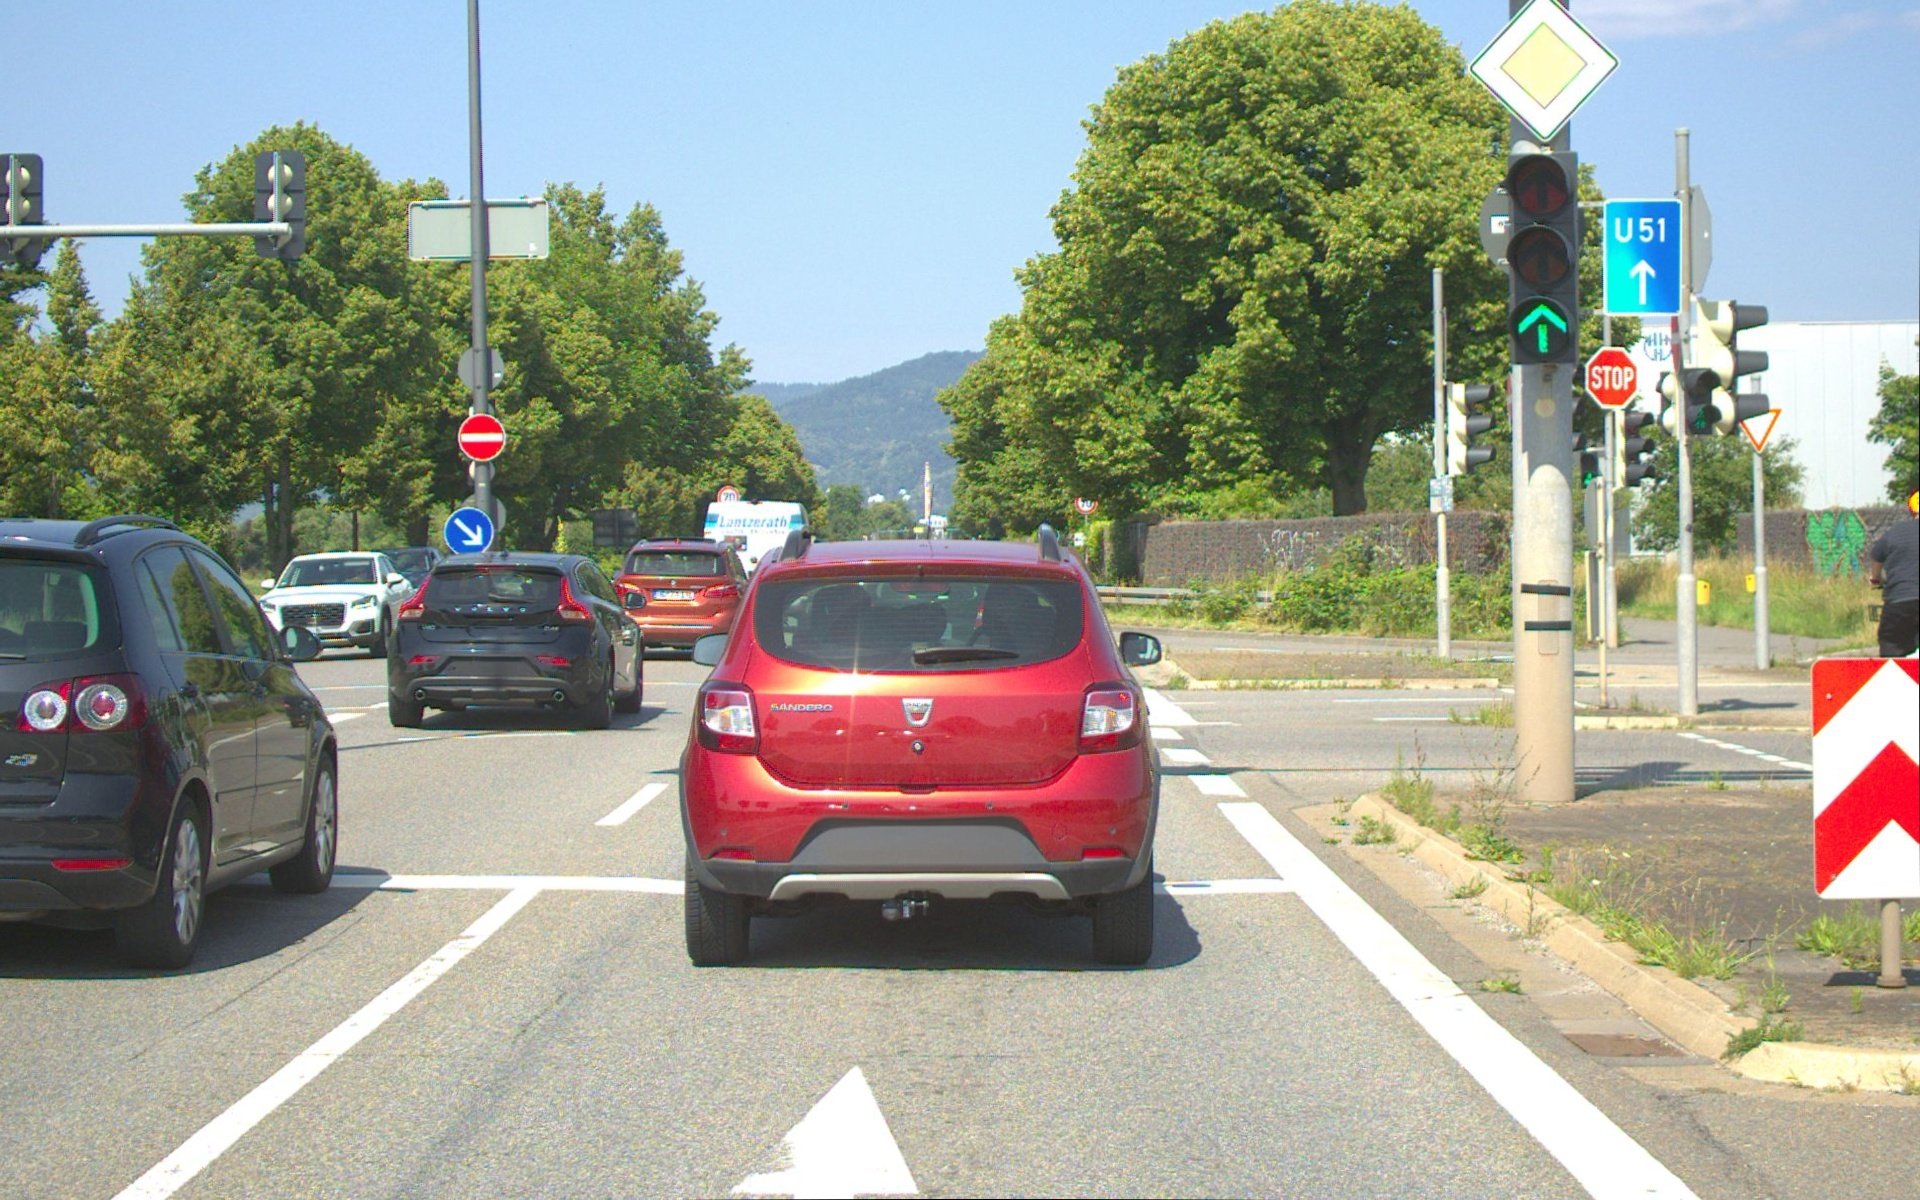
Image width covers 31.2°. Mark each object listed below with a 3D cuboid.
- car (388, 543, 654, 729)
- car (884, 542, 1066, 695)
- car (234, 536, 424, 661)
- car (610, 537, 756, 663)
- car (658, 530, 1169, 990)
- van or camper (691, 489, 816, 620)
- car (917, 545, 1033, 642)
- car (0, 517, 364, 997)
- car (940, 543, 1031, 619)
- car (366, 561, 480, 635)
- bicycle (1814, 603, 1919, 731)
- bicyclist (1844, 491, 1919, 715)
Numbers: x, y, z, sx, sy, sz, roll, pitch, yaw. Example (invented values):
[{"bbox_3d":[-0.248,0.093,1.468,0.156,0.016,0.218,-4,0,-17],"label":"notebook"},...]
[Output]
[{"bbox_3d":[-3.598,0.249,28.781,1.702,1.437,3.955,0,1,0],"label":"car"},{"bbox_3d":[0.186,0.149,34.929,1.749,1.453,3.676,0,1,1],"label":"car"},{"bbox_3d":[-8.935,-0.061,48.965,1.993,1.664,4.000,-1,1,-1],"label":"car"},{"bbox_3d":[-3.629,-0.042,45.632,1.724,1.594,3.956,0,1,-2],"label":"car"},{"bbox_3d":[-0.118,0.520,13.660,1.749,1.570,3.676,0,1,1],"label":"car"},{"bbox_3d":[-3.812,-0.864,64.132,2.179,2.295,4.827,1,1,-3],"label":"van or camper"},{"bbox_3d":[0.272,-0.124,54.351,1.749,1.453,3.676,0,1,1],"label":"car"},{"bbox_3d":[-3.510,0.469,13.223,1.723,1.570,3.893,1,1,0],"label":"car"},{"bbox_3d":[0.531,-0.404,68.938,1.749,1.453,3.676,0,1,1],"label":"car"},{"bbox_3d":[-9.216,-0.052,59.138,1.474,1.181,3.205,-1,1,-1],"label":"car"},{"bbox_3d":[7.615,0.512,27.599,0.761,0.911,2.780,-1,1,-1],"label":"bicycle"},{"bbox_3d":[7.610,0.010,27.590,0.802,1.765,0.809,-1,1,-1],"label":"bicyclist"}]
